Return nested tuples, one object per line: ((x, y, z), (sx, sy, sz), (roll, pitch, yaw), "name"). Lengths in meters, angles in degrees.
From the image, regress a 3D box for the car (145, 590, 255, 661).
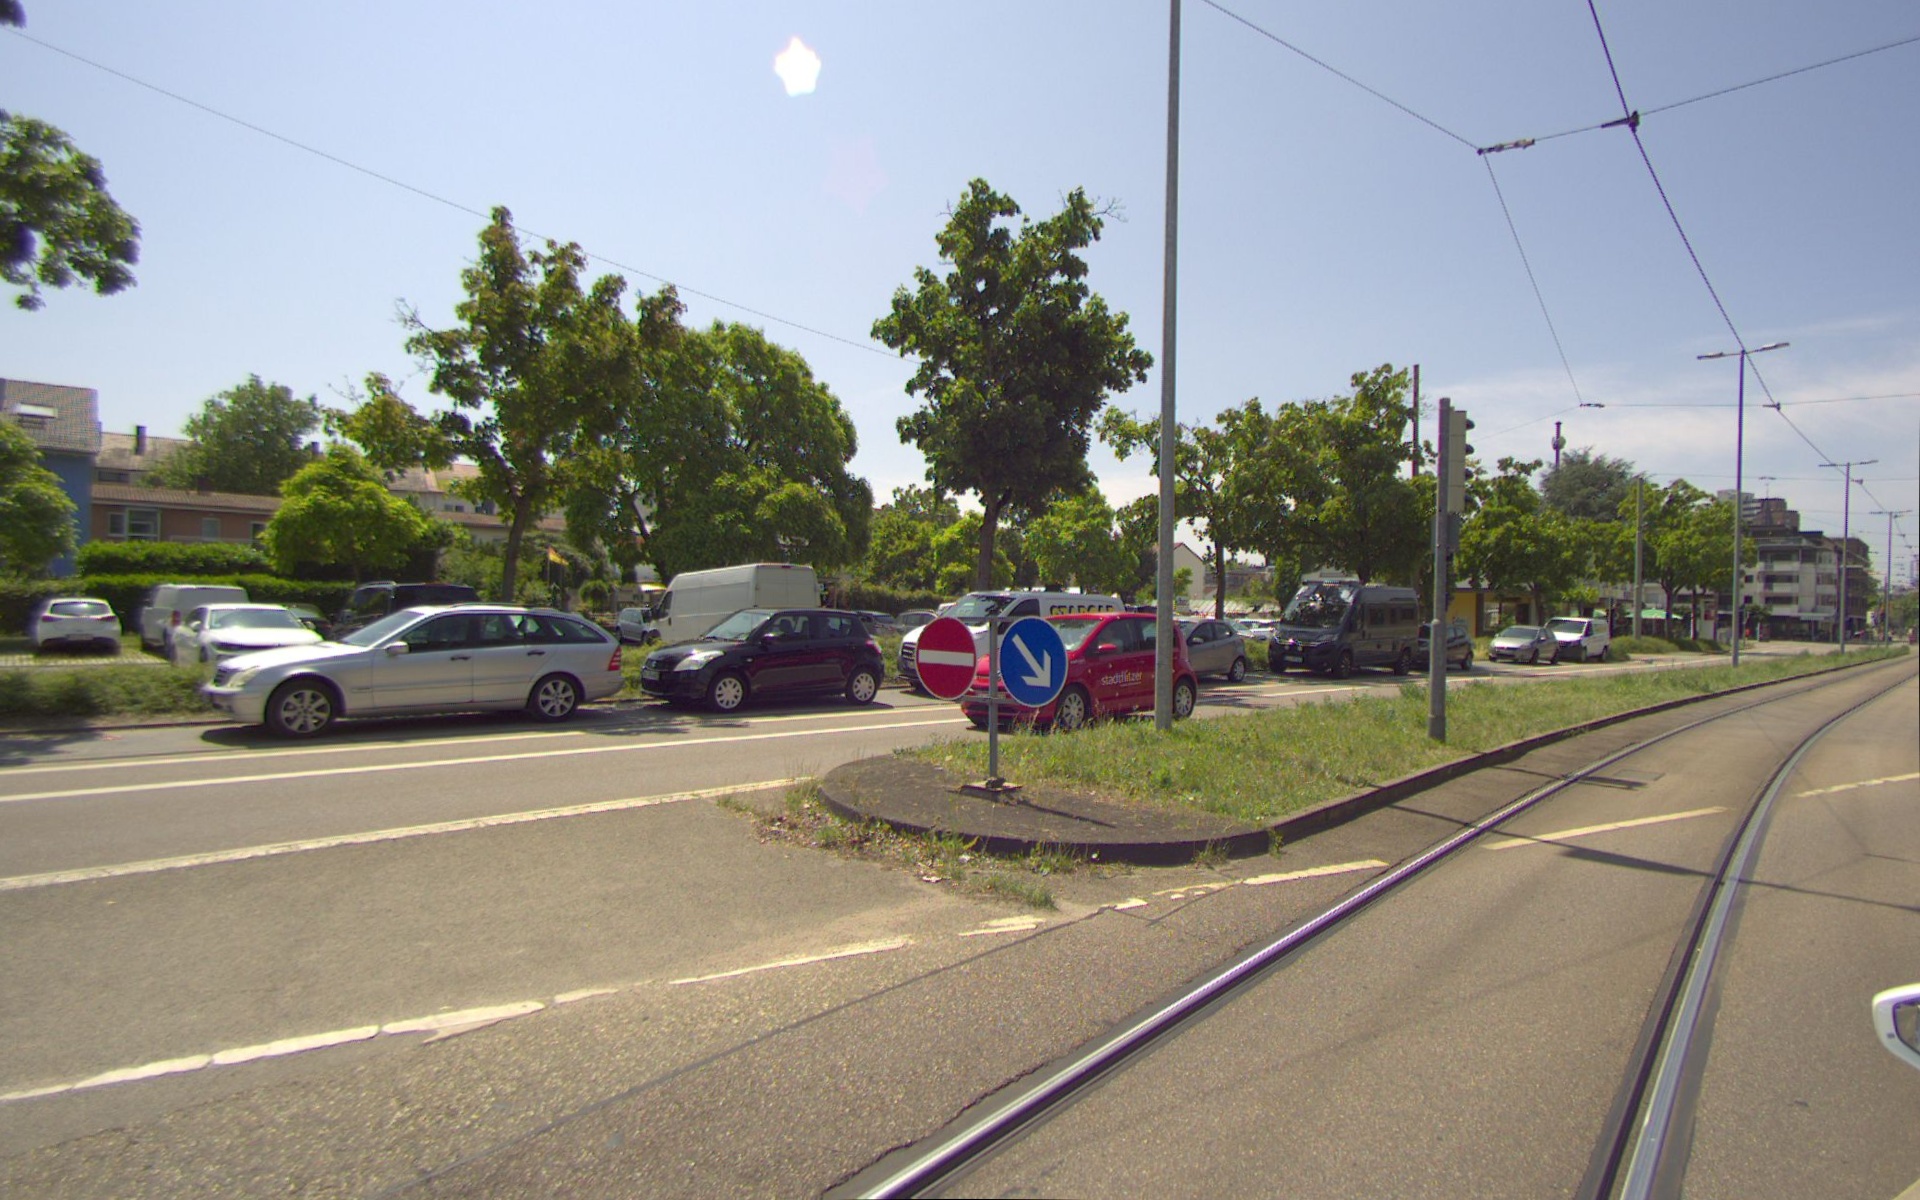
((-21.535, 0.672, 28.406), (1.958, 1.845, 4.086), (2, 0, -44), "car")

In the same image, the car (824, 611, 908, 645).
((-4.342, 1.275, 46.204), (1.765, 1.398, 4.090), (1, 0, -42), "car")

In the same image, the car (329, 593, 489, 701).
((-11.557, 0.906, 20.938), (1.845, 2.021, 4.167), (1, -1, -45), "car")

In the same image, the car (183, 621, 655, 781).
((-6.301, 1.045, 12.176), (1.700, 1.446, 4.742), (5, 3, 44), "car")

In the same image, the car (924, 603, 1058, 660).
((1.006, 1.040, 34.763), (1.785, 1.837, 4.670), (1, -1, -45), "car")

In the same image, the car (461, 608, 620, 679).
((-9.453, 0.911, 22.477), (1.845, 1.430, 4.167), (1, -1, -45), "car")

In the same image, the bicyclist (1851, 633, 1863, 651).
((111.333, 5.226, 124.687), (0.943, 2.119, 0.850), (0, -1, 34), "bicyclist")

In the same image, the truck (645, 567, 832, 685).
((-5.973, 0.640, 26.593), (2.414, 2.796, 5.526), (1, -1, -42), "truck")

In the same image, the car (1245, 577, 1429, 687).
((10.837, 0.853, 28.566), (6.132, 2.692, 2.374), (1, 3, -44), "car")

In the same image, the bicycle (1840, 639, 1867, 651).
((111.071, 5.585, 124.867), (2.475, 1.438, 0.636), (0, -1, 34), "bicycle")

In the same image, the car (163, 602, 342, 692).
((-13.638, 0.809, 19.233), (2.045, 1.508, 4.713), (1, -1, -45), "car")

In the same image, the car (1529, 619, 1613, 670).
((27.075, 1.939, 44.449), (5.130, 1.992, 1.857), (1, 3, -44), "car")

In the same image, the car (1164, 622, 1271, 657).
((11.214, 1.693, 43.927), (1.845, 1.430, 4.167), (1, -1, -45), "car")

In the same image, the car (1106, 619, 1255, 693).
((5.094, 1.228, 22.961), (3.813, 1.459, 1.391), (1, 3, -44), "car")

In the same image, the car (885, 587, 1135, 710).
((1.068, 0.854, 19.098), (4.770, 1.963, 1.845), (2, 3, -42), "car")

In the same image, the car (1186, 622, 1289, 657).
((12.622, 1.764, 45.807), (4.165, 1.430, 1.845), (0, -1, 44), "car")

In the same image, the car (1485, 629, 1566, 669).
((22.486, 1.918, 39.877), (3.838, 1.439, 1.616), (2, 1, -42), "car")

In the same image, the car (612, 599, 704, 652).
((-11.550, 0.933, 38.263), (1.765, 1.845, 4.090), (1, 0, -42), "car")

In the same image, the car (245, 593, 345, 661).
((-19.819, 0.756, 29.871), (1.728, 1.845, 4.086), (1, 0, -44), "car")

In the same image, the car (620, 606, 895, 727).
((-2.985, 0.925, 15.225), (3.756, 1.504, 1.599), (2, 3, -42), "car")

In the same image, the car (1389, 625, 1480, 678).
((15.565, 1.643, 32.881), (3.997, 1.543, 1.299), (1, 3, -44), "car")

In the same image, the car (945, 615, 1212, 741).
((1.650, 0.944, 13.260), (3.582, 1.428, 1.641), (2, -2, -45), "car")

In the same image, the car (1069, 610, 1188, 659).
((6.780, 1.354, 40.889), (1.784, 1.837, 4.673), (1, -1, -43), "car")

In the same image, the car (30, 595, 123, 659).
((-24.099, 0.691, 27.366), (1.721, 1.597, 3.709), (1, 0, -44), "car")

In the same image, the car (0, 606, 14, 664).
((-25.411, 0.862, 25.641), (1.805, 1.351, 4.087), (1, 0, -44), "car")
